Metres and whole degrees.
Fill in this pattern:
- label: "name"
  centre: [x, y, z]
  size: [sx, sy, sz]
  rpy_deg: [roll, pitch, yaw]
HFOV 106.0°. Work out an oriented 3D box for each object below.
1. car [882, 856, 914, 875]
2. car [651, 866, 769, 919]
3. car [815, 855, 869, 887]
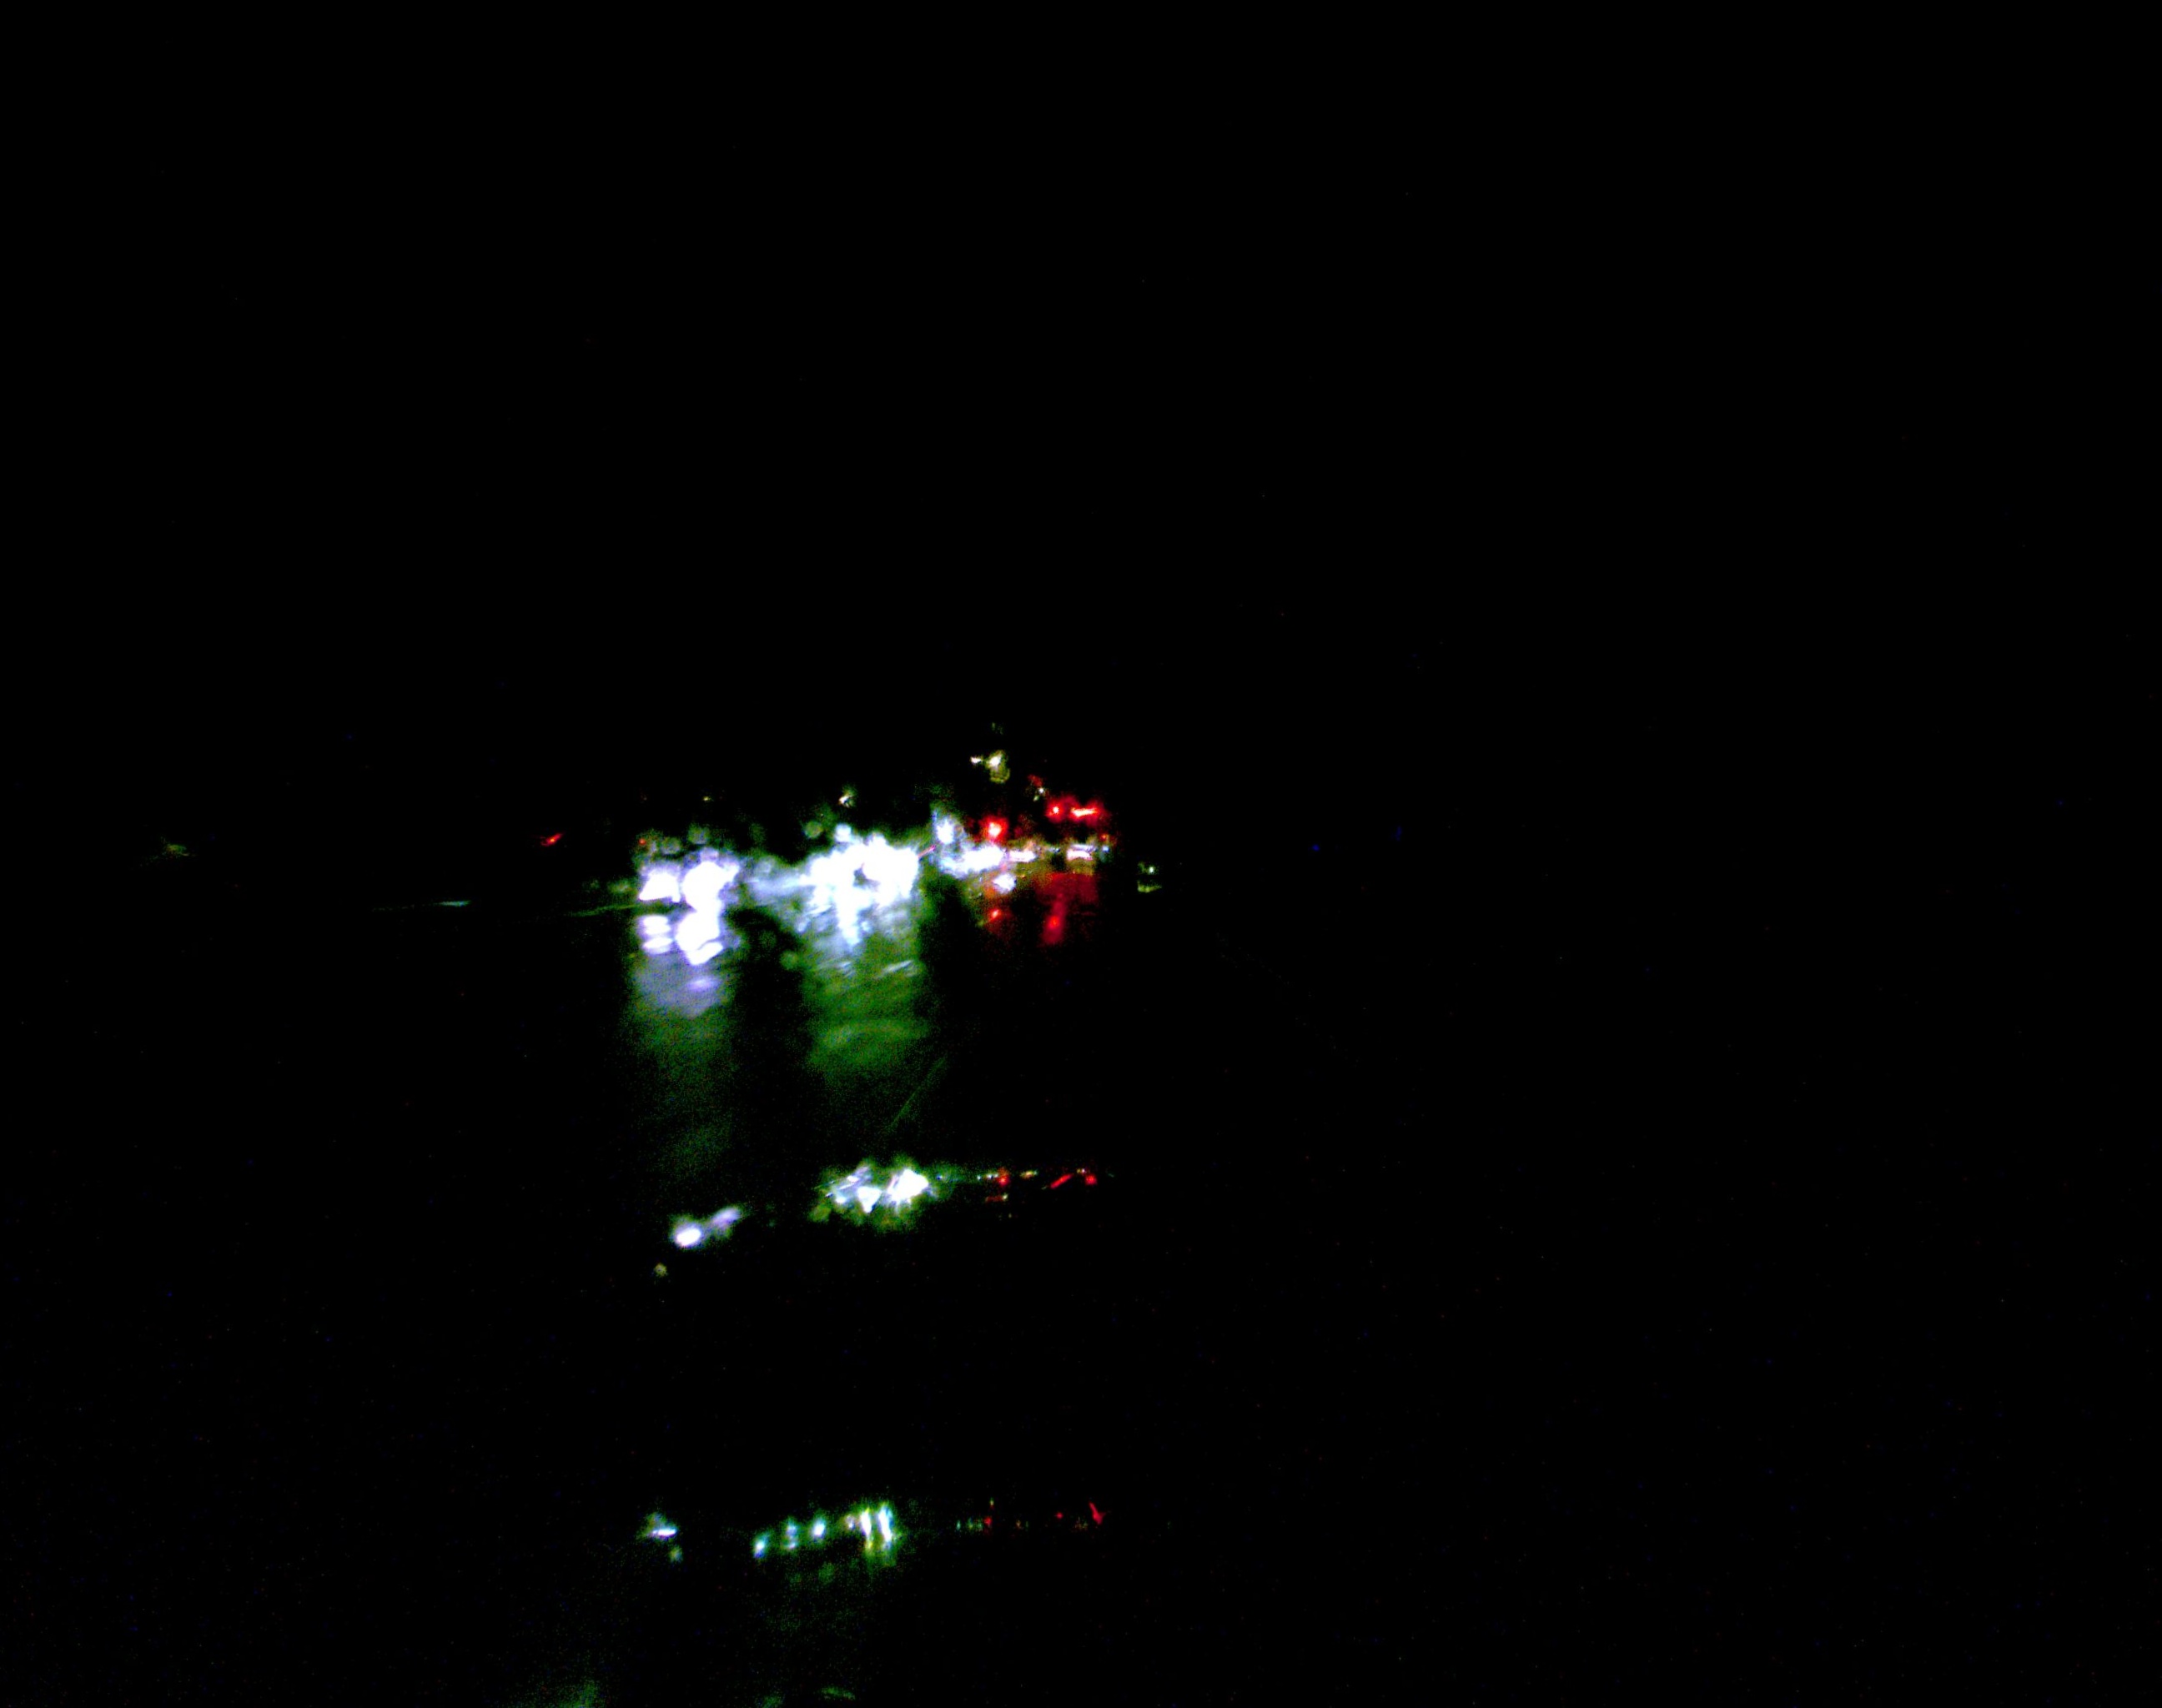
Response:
- label: "car"
  centre: [-14.895, 0.910, 66.413]
  size: [1.872, 1.397, 4.243]
  rpy_deg: [-1, 0, -4]
- label: "car"
  centre: [-11.313, 1.108, 25.211]
  size: [1.829, 1.442, 4.484]
  rpy_deg: [0, 0, -4]
- label: "car"
  centre: [-12.322, 0.827, 42.254]
  size: [1.786, 1.441, 3.852]
  rpy_deg: [-3, 1, -3]
